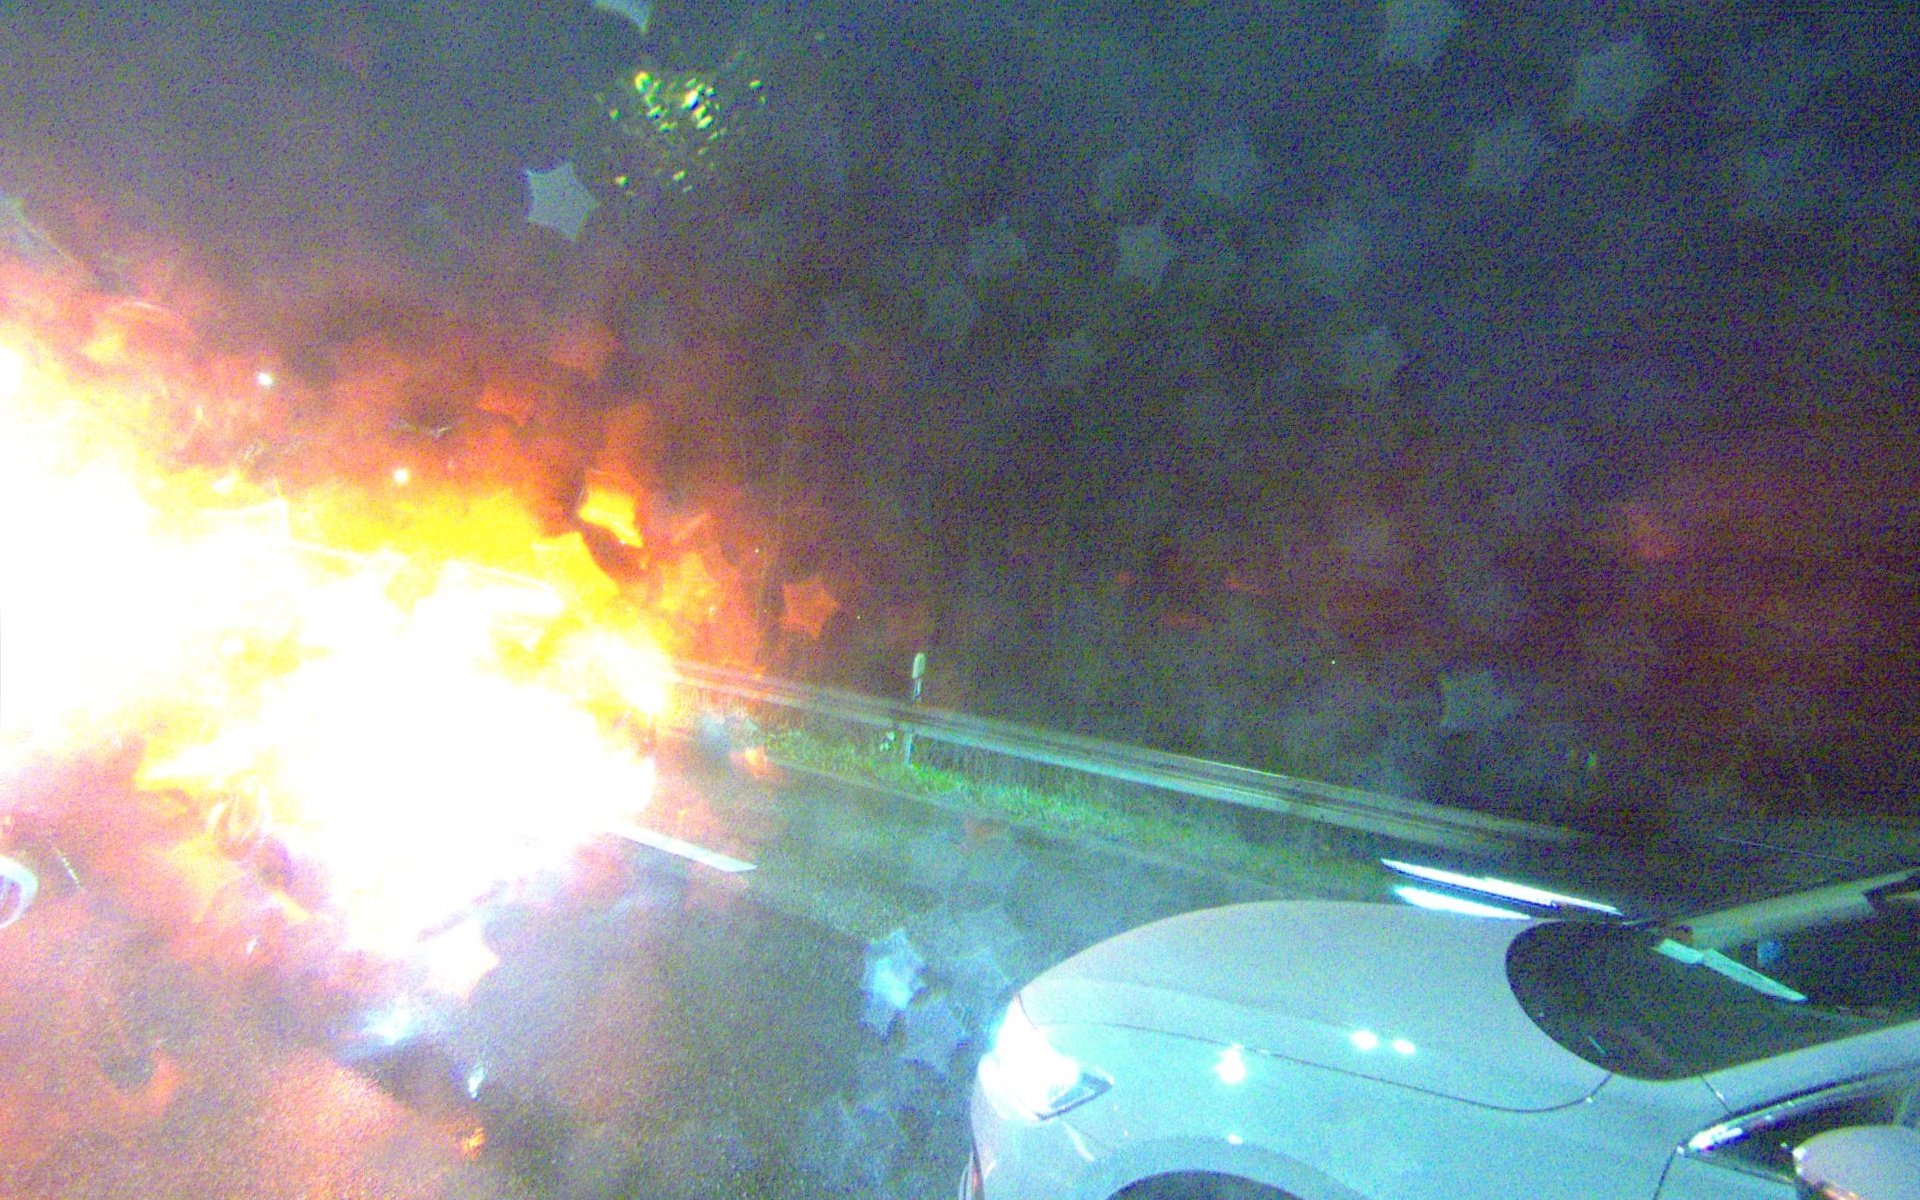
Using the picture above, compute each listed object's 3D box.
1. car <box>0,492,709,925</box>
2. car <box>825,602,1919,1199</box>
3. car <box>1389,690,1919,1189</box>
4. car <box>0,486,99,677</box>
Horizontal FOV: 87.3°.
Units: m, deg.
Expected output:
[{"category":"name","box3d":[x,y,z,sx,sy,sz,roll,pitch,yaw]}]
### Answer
[{"category":"car","box3d":[-3.748,0.390,5.759,4.484,1.522,1.677,6,-3,32]},{"category":"car","box3d":[2.044,1.051,1.583,4.342,1.539,1.710,6,-2,32]},{"category":"car","box3d":[4.275,1.469,4.159,4.266,1.496,2.000,6,-4,31]},{"category":"car","box3d":[-9.656,-0.363,8.949,3.892,1.539,1.681,6,-2,29]}]
